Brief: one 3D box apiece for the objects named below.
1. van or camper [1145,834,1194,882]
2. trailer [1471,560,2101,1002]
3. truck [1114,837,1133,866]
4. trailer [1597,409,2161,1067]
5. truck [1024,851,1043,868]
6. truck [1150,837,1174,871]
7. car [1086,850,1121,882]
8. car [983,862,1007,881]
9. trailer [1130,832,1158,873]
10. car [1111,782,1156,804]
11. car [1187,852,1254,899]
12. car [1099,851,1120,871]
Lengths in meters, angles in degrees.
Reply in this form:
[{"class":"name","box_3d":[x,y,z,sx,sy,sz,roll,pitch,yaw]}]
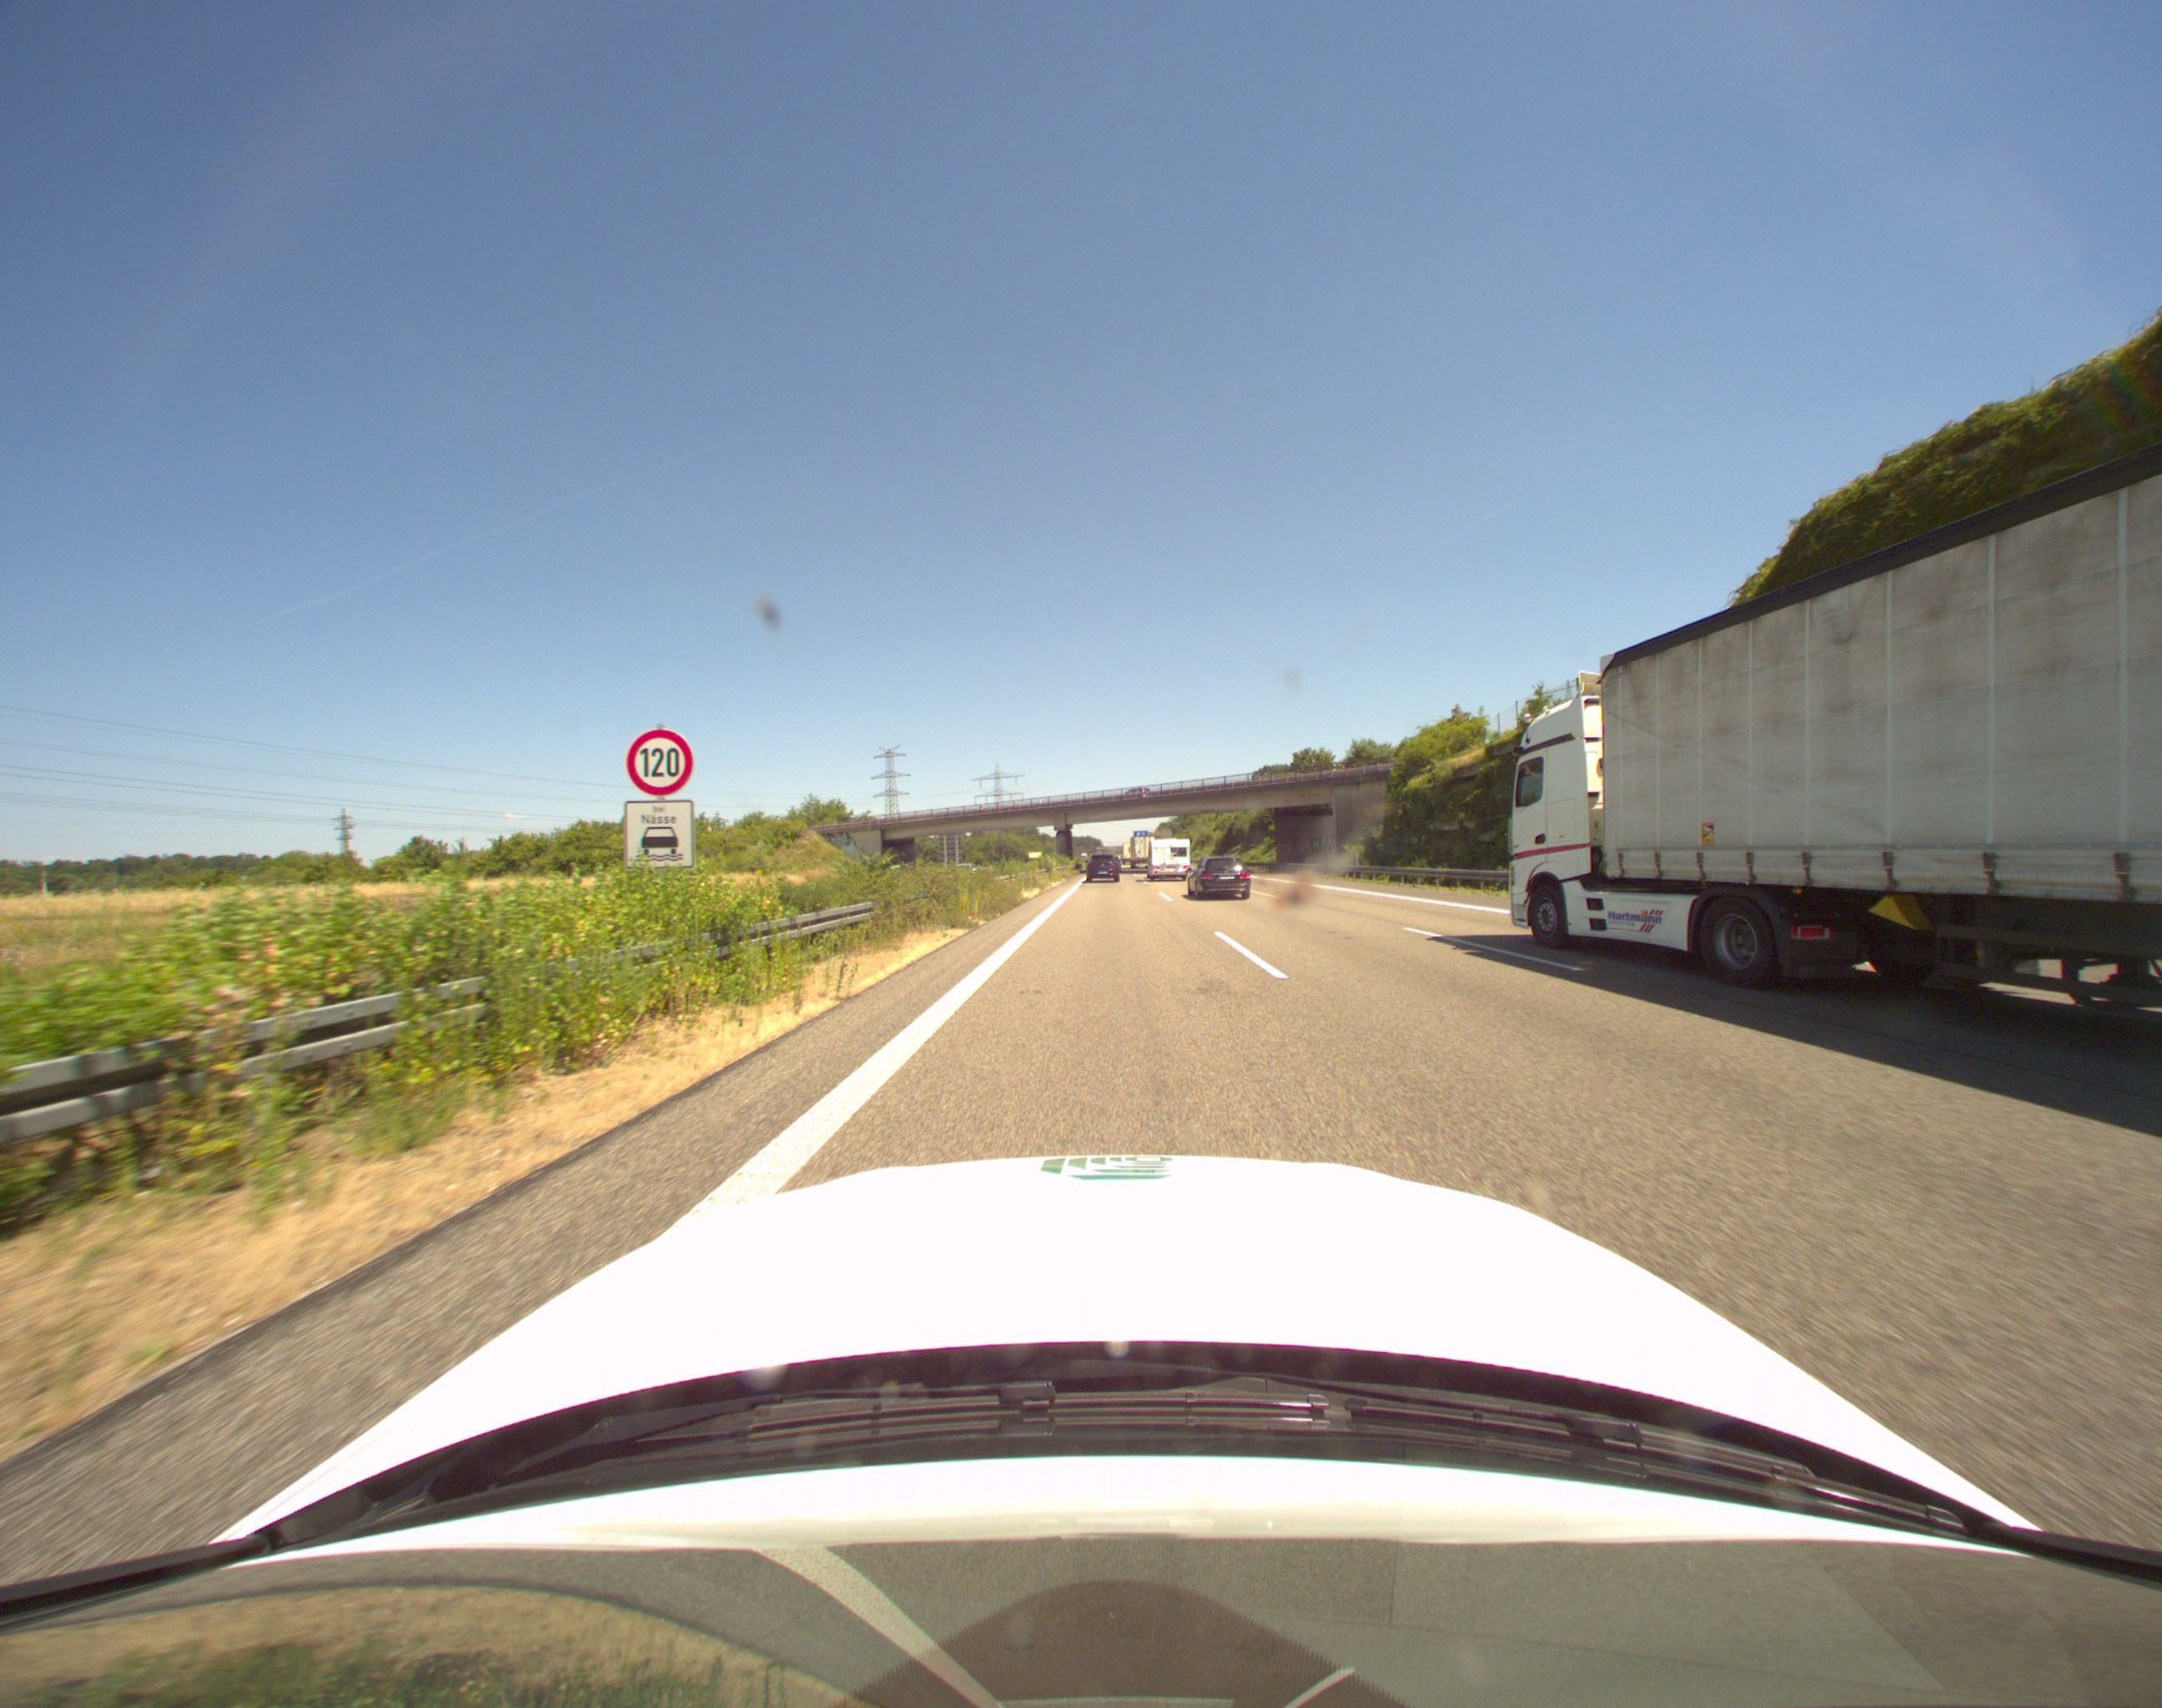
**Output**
[{"class":"van or camper","box_3d":[5.377,0.215,50.262,2.430,2.675,6.351,-2,0,1]},{"class":"trailer","box_3d":[8.271,-0.677,11.080,2.703,4.102,6.791,-2,0,1]},{"class":"truck","box_3d":[7.928,-0.494,152.799,3.498,5.166,10.264,-1,0,3]},{"class":"trailer","box_3d":[8.085,-0.751,4.162,2.718,4.102,13.193,-2,0,1]},{"class":"truck","box_3d":[-11.168,1.313,190.864,3.498,3.863,8.667,-1,0,2]},{"class":"truck","box_3d":[12.064,-0.021,121.608,3.074,4.885,8.803,0,-1,3]},{"class":"car","box_3d":[1.347,0.714,49.354,1.986,1.772,4.001,-2,0,1]},{"class":"car","box_3d":[-10.216,2.061,97.230,1.986,2.013,4.843,-4,-1,2]},{"class":"trailer","box_3d":[7.766,-0.139,102.250,3.074,4.885,12.265,0,-1,3]},{"class":"car","box_3d":[5.230,-6.069,81.310,3.948,1.651,2.013,-4,-3,34]},{"class":"car","box_3d":[4.885,0.720,29.145,1.833,1.505,4.742,-1,0,3]},{"class":"car","box_3d":[2.779,0.701,79.625,1.954,1.814,4.450,-2,0,1]}]
